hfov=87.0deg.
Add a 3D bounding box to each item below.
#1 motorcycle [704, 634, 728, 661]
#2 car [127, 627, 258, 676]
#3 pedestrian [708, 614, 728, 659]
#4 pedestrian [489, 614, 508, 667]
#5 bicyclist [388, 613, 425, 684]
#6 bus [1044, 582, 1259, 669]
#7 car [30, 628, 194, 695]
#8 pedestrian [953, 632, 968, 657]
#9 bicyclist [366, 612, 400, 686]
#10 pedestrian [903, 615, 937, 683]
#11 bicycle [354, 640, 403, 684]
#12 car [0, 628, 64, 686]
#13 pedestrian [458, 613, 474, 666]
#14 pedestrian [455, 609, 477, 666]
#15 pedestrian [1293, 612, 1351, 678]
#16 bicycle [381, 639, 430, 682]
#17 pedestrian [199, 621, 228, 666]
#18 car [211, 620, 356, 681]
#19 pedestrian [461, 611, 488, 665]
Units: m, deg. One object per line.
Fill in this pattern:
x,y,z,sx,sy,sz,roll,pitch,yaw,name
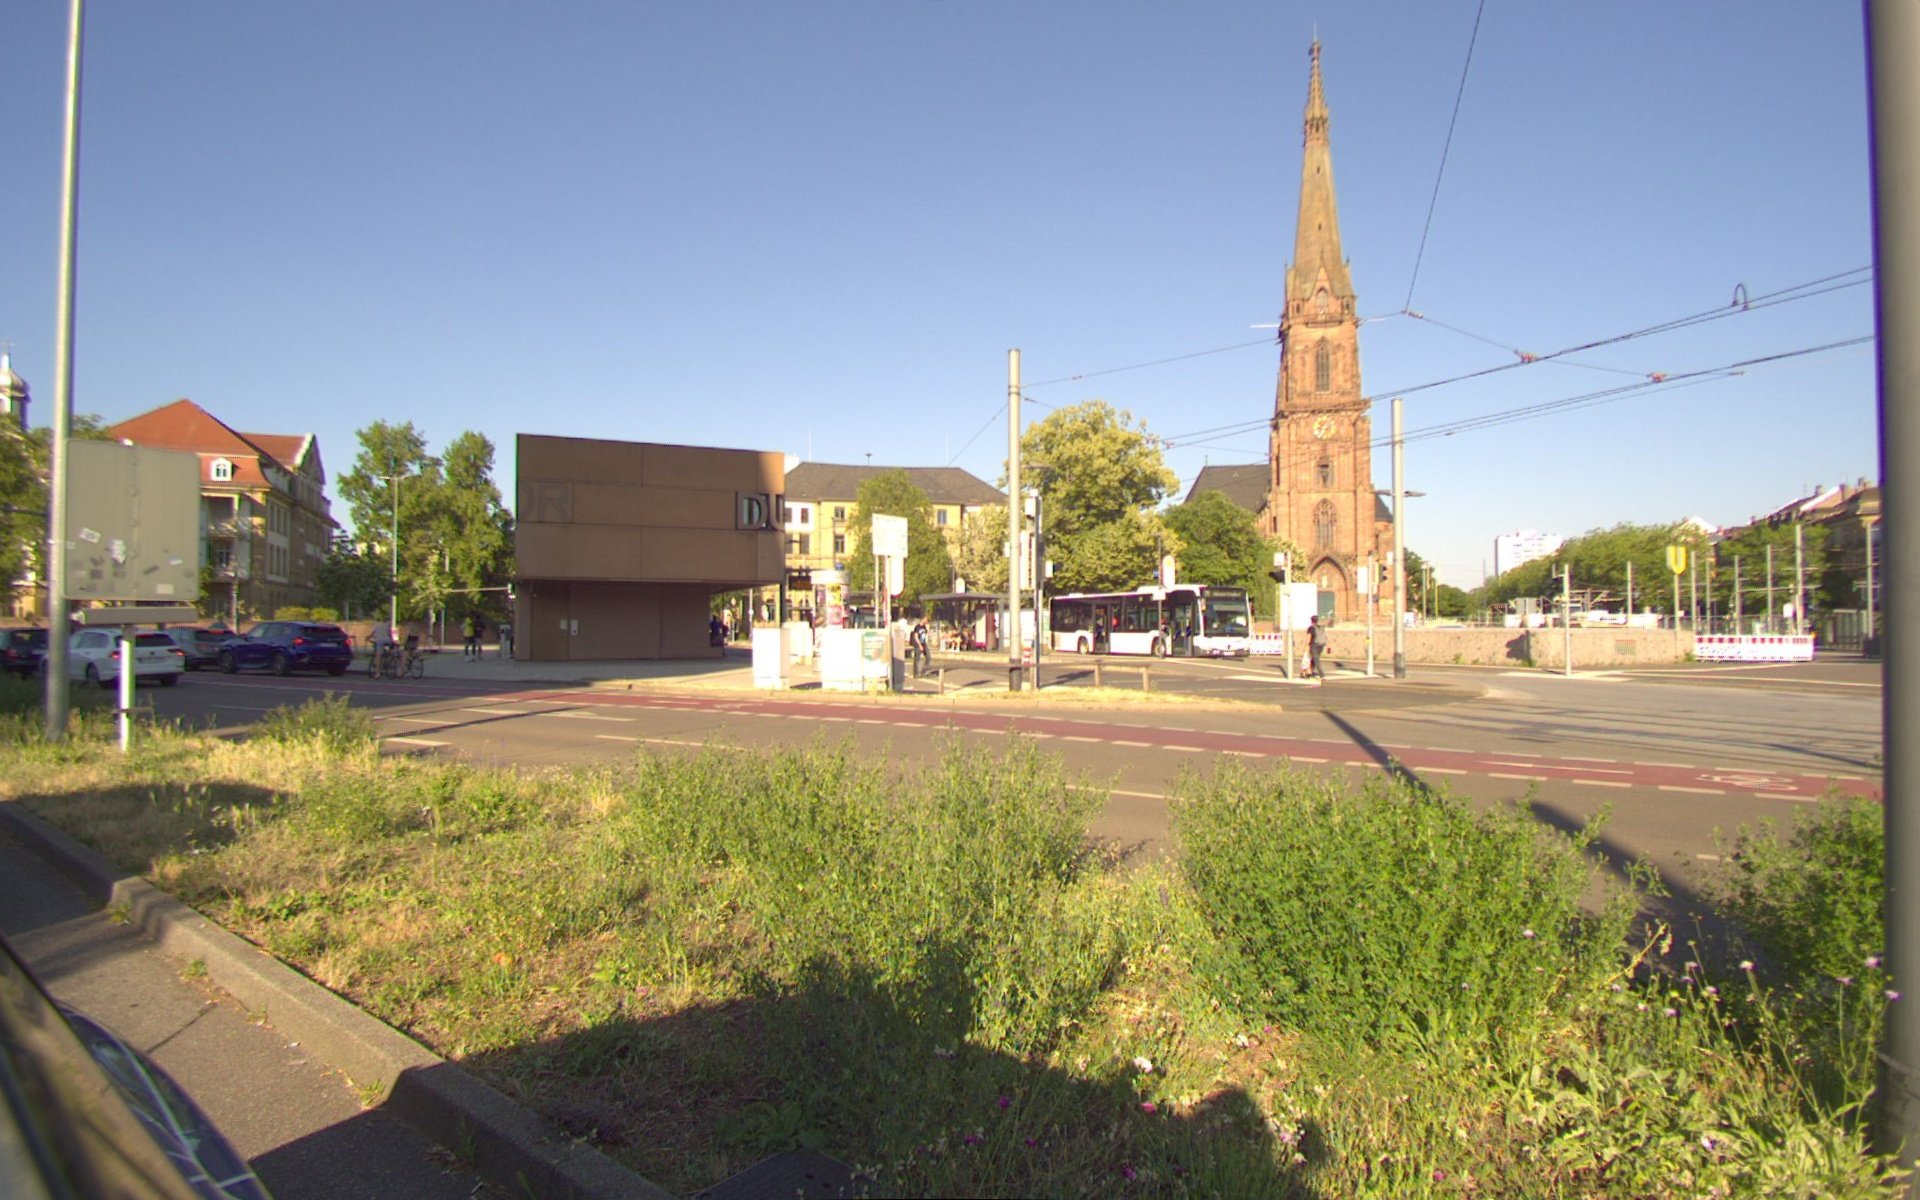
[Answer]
-10.125,1.959,42.046,0.935,1.075,0.331,-1,0,-11,motorcycle
-25.127,1.655,33.112,4.375,1.503,1.831,-1,-4,30,car
-11.039,1.660,46.183,0.762,2.029,0.778,-1,0,-2,pedestrian
-18.075,1.582,39.647,0.645,2.029,0.470,-1,0,-29,pedestrian
-15.961,1.389,29.189,0.705,2.029,0.605,-1,-2,25,bicyclist
7.656,0.970,43.353,2.655,3.174,12.216,-1,0,-23,bus
-21.447,1.490,25.563,4.375,1.503,1.831,-1,0,30,car
0.039,2.195,49.960,0.531,1.196,0.660,-1,0,-21,pedestrian
-16.269,1.374,28.545,0.562,2.029,0.605,-1,-2,25,bicyclist
-1.068,1.295,27.134,0.702,1.771,0.584,-1,0,-30,pedestrian
-16.432,1.746,28.589,1.388,1.201,0.461,-1,0,24,bicycle
-26.818,1.569,28.473,4.184,1.471,1.734,-1,0,39,car
-19.310,1.520,39.530,0.460,2.029,0.658,-1,0,-32,pedestrian
-17.654,1.327,36.169,0.645,2.029,0.470,-1,0,-29,pedestrian
9.705,1.185,27.172,1.025,1.696,1.007,-1,0,-25,pedestrian
-16.014,1.741,29.220,1.388,1.201,0.461,-1,0,24,bicycle
-32.530,1.890,44.107,0.787,1.911,0.612,0,-2,-9,pedestrian
-20.134,1.460,30.110,4.166,1.703,1.741,-1,-1,26,car
-18.434,1.428,38.436,0.765,2.029,0.775,-1,0,-37,pedestrian
